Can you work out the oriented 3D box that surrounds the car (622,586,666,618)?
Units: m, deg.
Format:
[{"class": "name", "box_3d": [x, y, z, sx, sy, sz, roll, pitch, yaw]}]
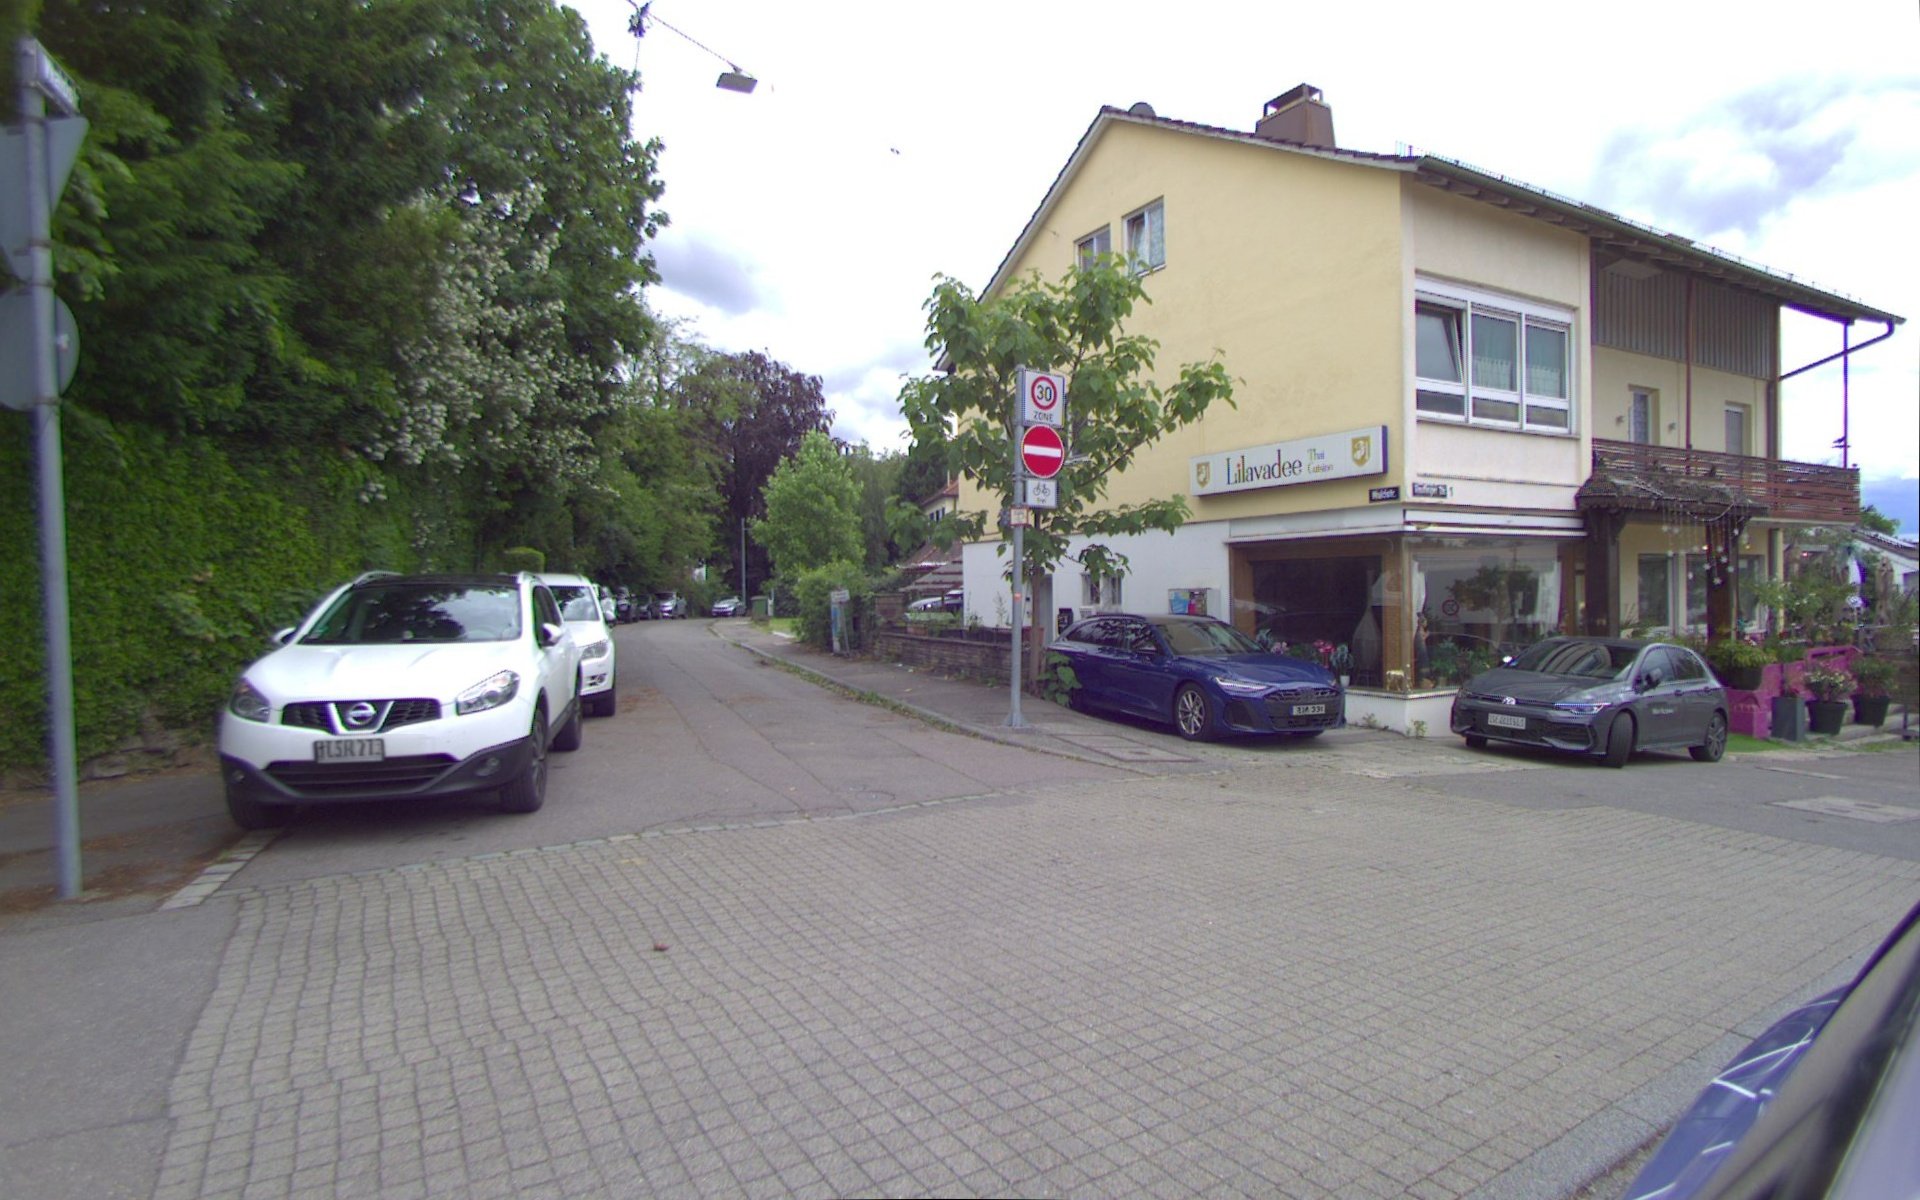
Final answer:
[{"class": "car", "box_3d": [-15.911, 0.077, 51.121, 1.542, 1.502, 3.479, -1, 1, -8]}]

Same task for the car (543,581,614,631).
[{"class": "car", "box_3d": [-12.212, 0.141, 32.601, 1.542, 1.502, 3.745, -1, 1, -11]}]

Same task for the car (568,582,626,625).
[{"class": "car", "box_3d": [-13.418, 0.106, 37.555, 1.542, 1.502, 3.481, -1, 1, -11]}]

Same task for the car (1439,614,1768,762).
[{"class": "car", "box_3d": [7.948, 1.068, 12.380, 4.242, 1.480, 1.800, 5, -2, -34]}]

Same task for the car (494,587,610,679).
[{"class": "car", "box_3d": [-7.381, 0.505, 18.540, 1.761, 1.441, 4.080, -1, 1, -20]}]

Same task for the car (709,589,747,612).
[{"class": "car", "box_3d": [-16.341, 0.030, 71.466, 1.547, 1.502, 3.468, 0, 1, 7]}]

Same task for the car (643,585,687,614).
[{"class": "car", "box_3d": [-16.234, -0.039, 55.804, 1.543, 1.502, 3.476, 0, 1, -3]}]

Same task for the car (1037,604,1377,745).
[{"class": "car", "box_3d": [2.919, 0.831, 13.220, 1.761, 1.405, 4.758, 2, 0, -23]}]

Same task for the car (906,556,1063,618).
[{"class": "car", "box_3d": [0.721, -0.370, 30.283, 4.235, 1.480, 1.802, 4, -2, -19]}]

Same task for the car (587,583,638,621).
[{"class": "car", "box_3d": [-14.202, 0.047, 41.535, 1.542, 1.502, 3.481, -1, 1, -11]}]

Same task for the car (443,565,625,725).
[{"class": "car", "box_3d": [-5.172, 0.437, 12.618, 1.761, 1.643, 4.080, -1, 1, -20]}]

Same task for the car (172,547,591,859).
[{"class": "car", "box_3d": [-3.862, 0.511, 7.564, 1.761, 1.643, 4.144, -1, 1, -16]}]
